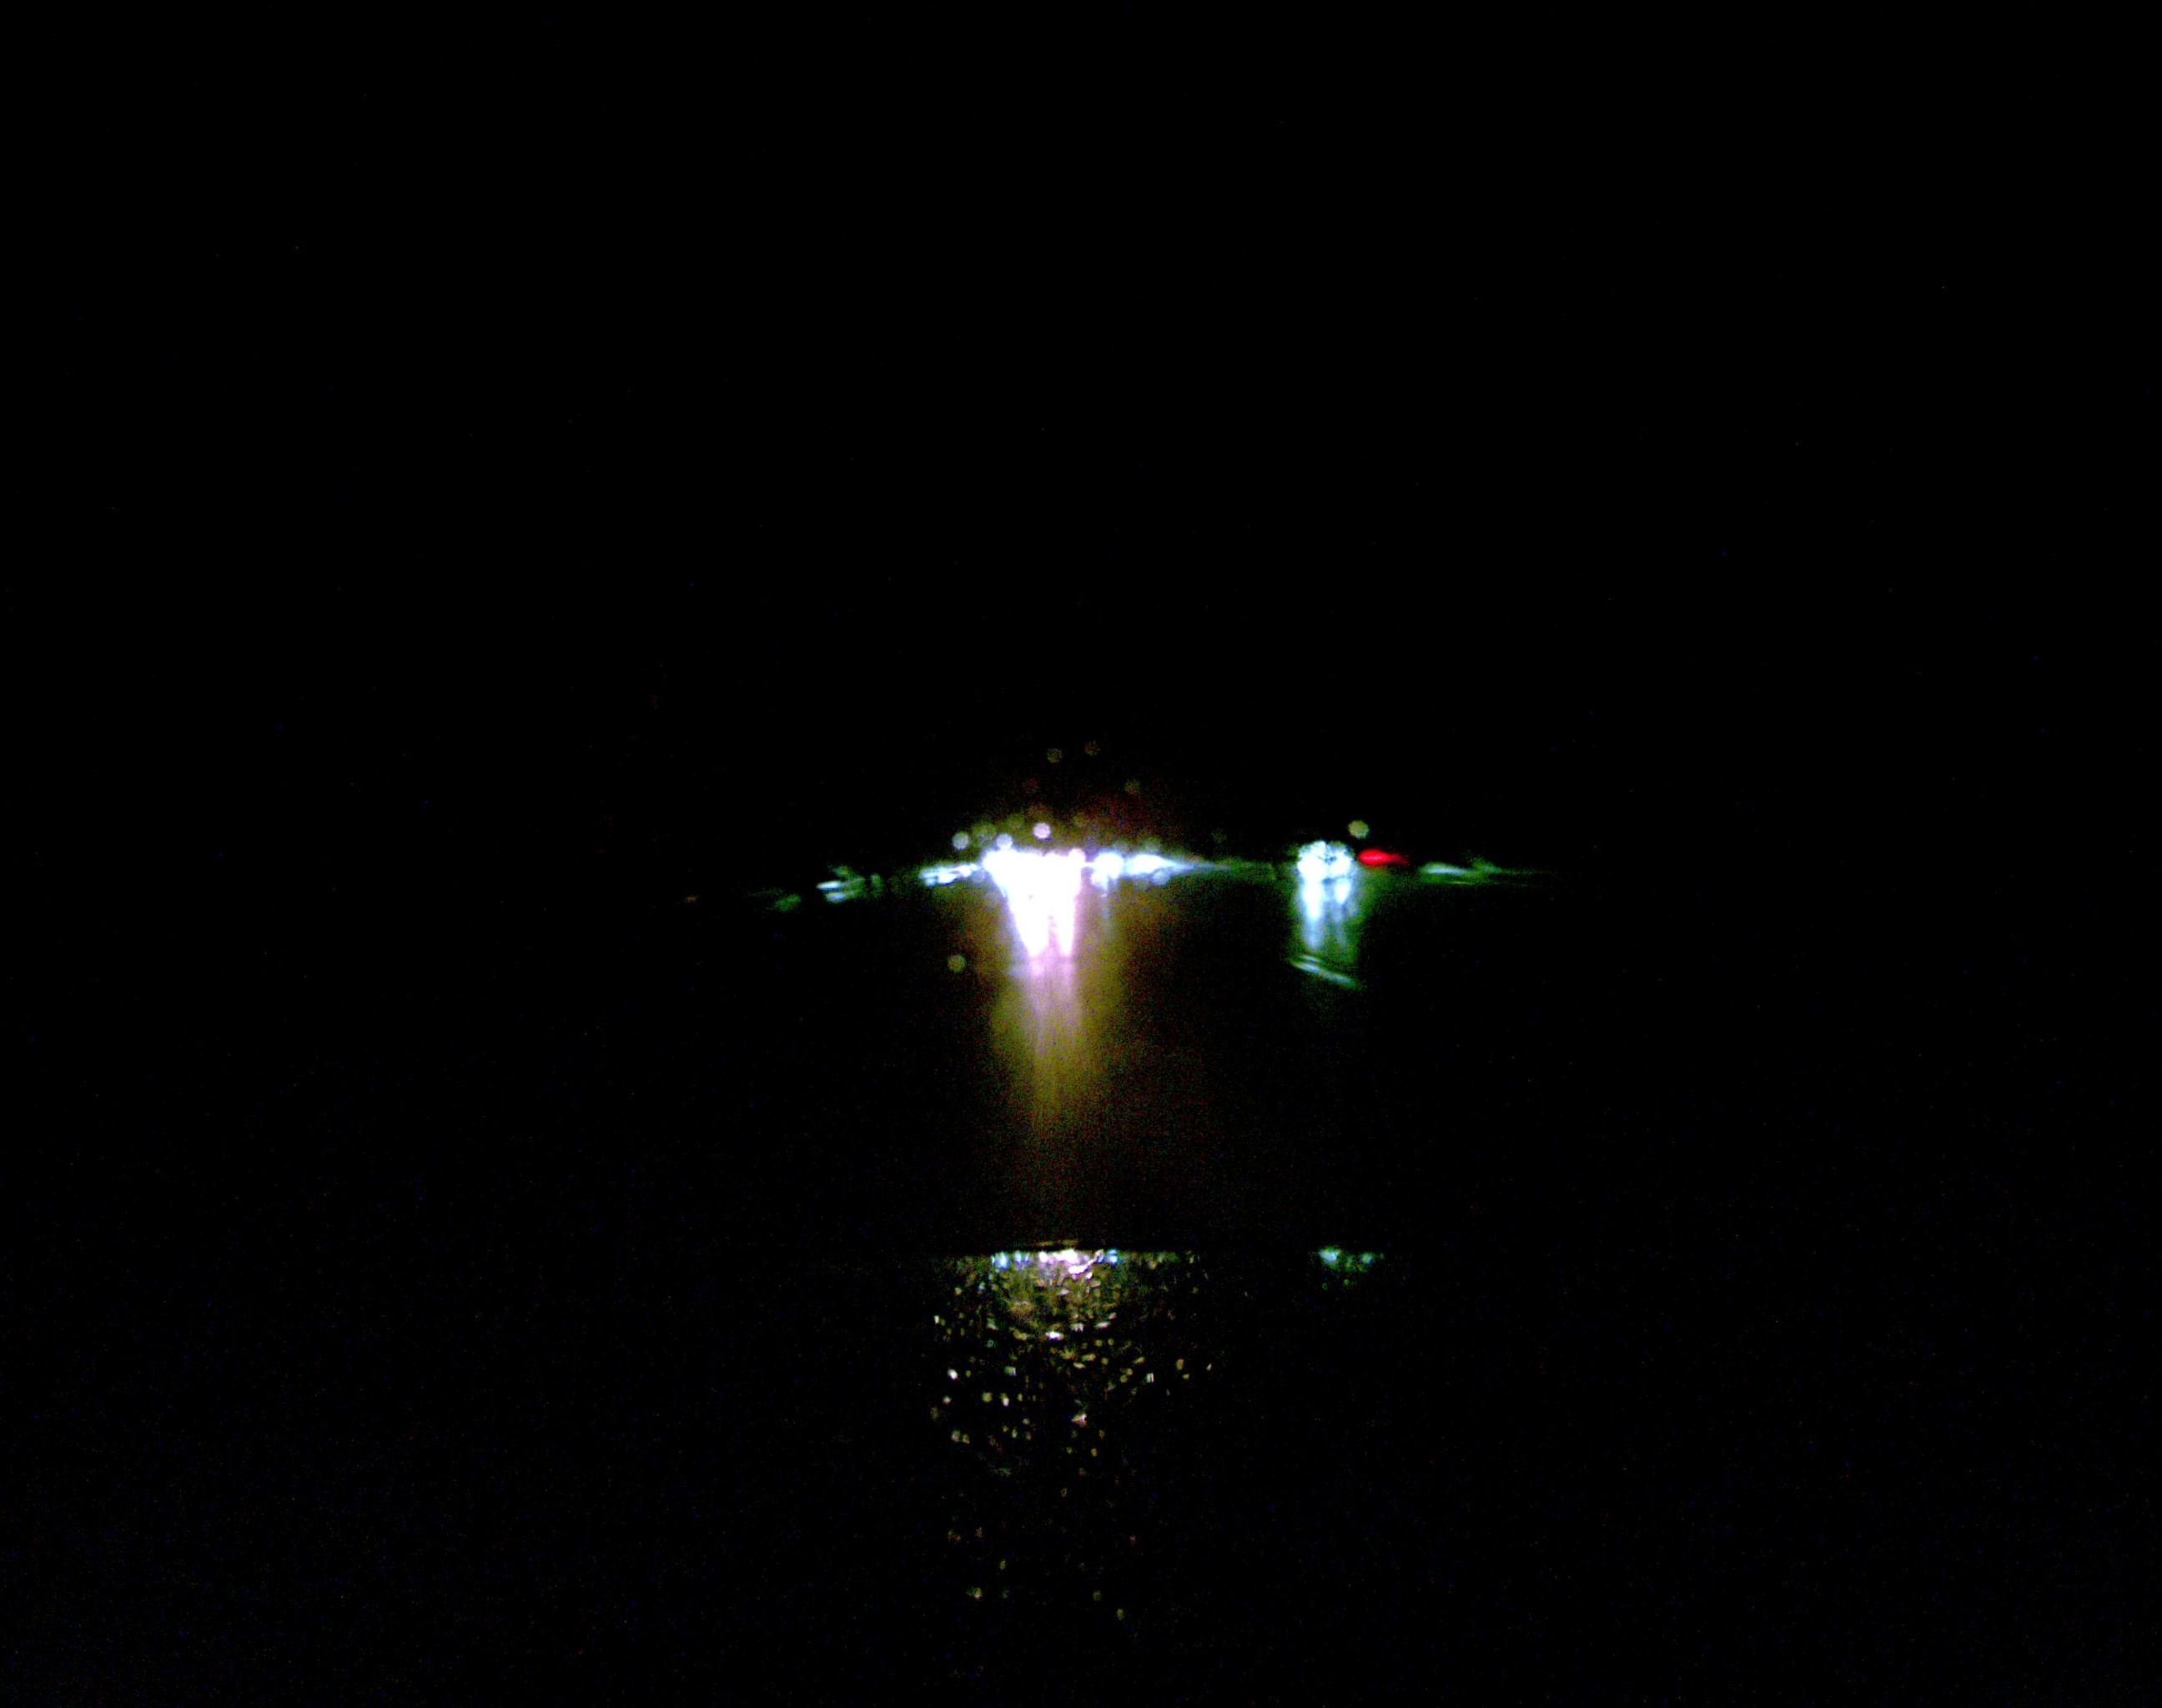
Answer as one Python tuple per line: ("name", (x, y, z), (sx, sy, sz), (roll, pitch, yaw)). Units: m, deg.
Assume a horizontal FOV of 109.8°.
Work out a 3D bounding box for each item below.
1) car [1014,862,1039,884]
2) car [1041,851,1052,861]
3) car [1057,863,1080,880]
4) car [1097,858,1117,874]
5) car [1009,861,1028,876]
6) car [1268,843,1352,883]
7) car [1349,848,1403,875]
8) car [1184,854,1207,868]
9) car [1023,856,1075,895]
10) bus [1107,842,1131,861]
("car", (-4.189, 1.414, 58.612), (1.813, 1.477, 3.581), (-3, 0, -3))
("car", (-6.778, 0.403, 149.052), (1.999, 1.797, 3.998), (-3, 1, -5))
("car", (-1.340, 1.796, 78.931), (1.999, 1.551, 4.585), (-3, 0, -5))
("car", (3.304, 1.517, 97.008), (1.999, 1.797, 3.998), (-3, 1, -5))
("car", (-6.658, 1.528, 80.256), (1.814, 1.477, 3.580), (-3, 1, -7))
("car", (10.327, 0.378, 34.647), (1.999, 1.551, 4.585), (-3, 0, -5))
("car", (20.974, 0.512, 54.235), (1.909, 1.797, 3.998), (-3, 1, -6))
("car", (15.955, 0.998, 105.868), (1.910, 1.797, 3.997), (-3, 1, -9))
("car", (-1.487, 0.987, 34.004), (1.999, 1.542, 3.999), (-3, -2, -6))
("bus", (9.367, -0.687, 190.585), (3.084, 4.464, 17.002), (-3, 0, -6))
